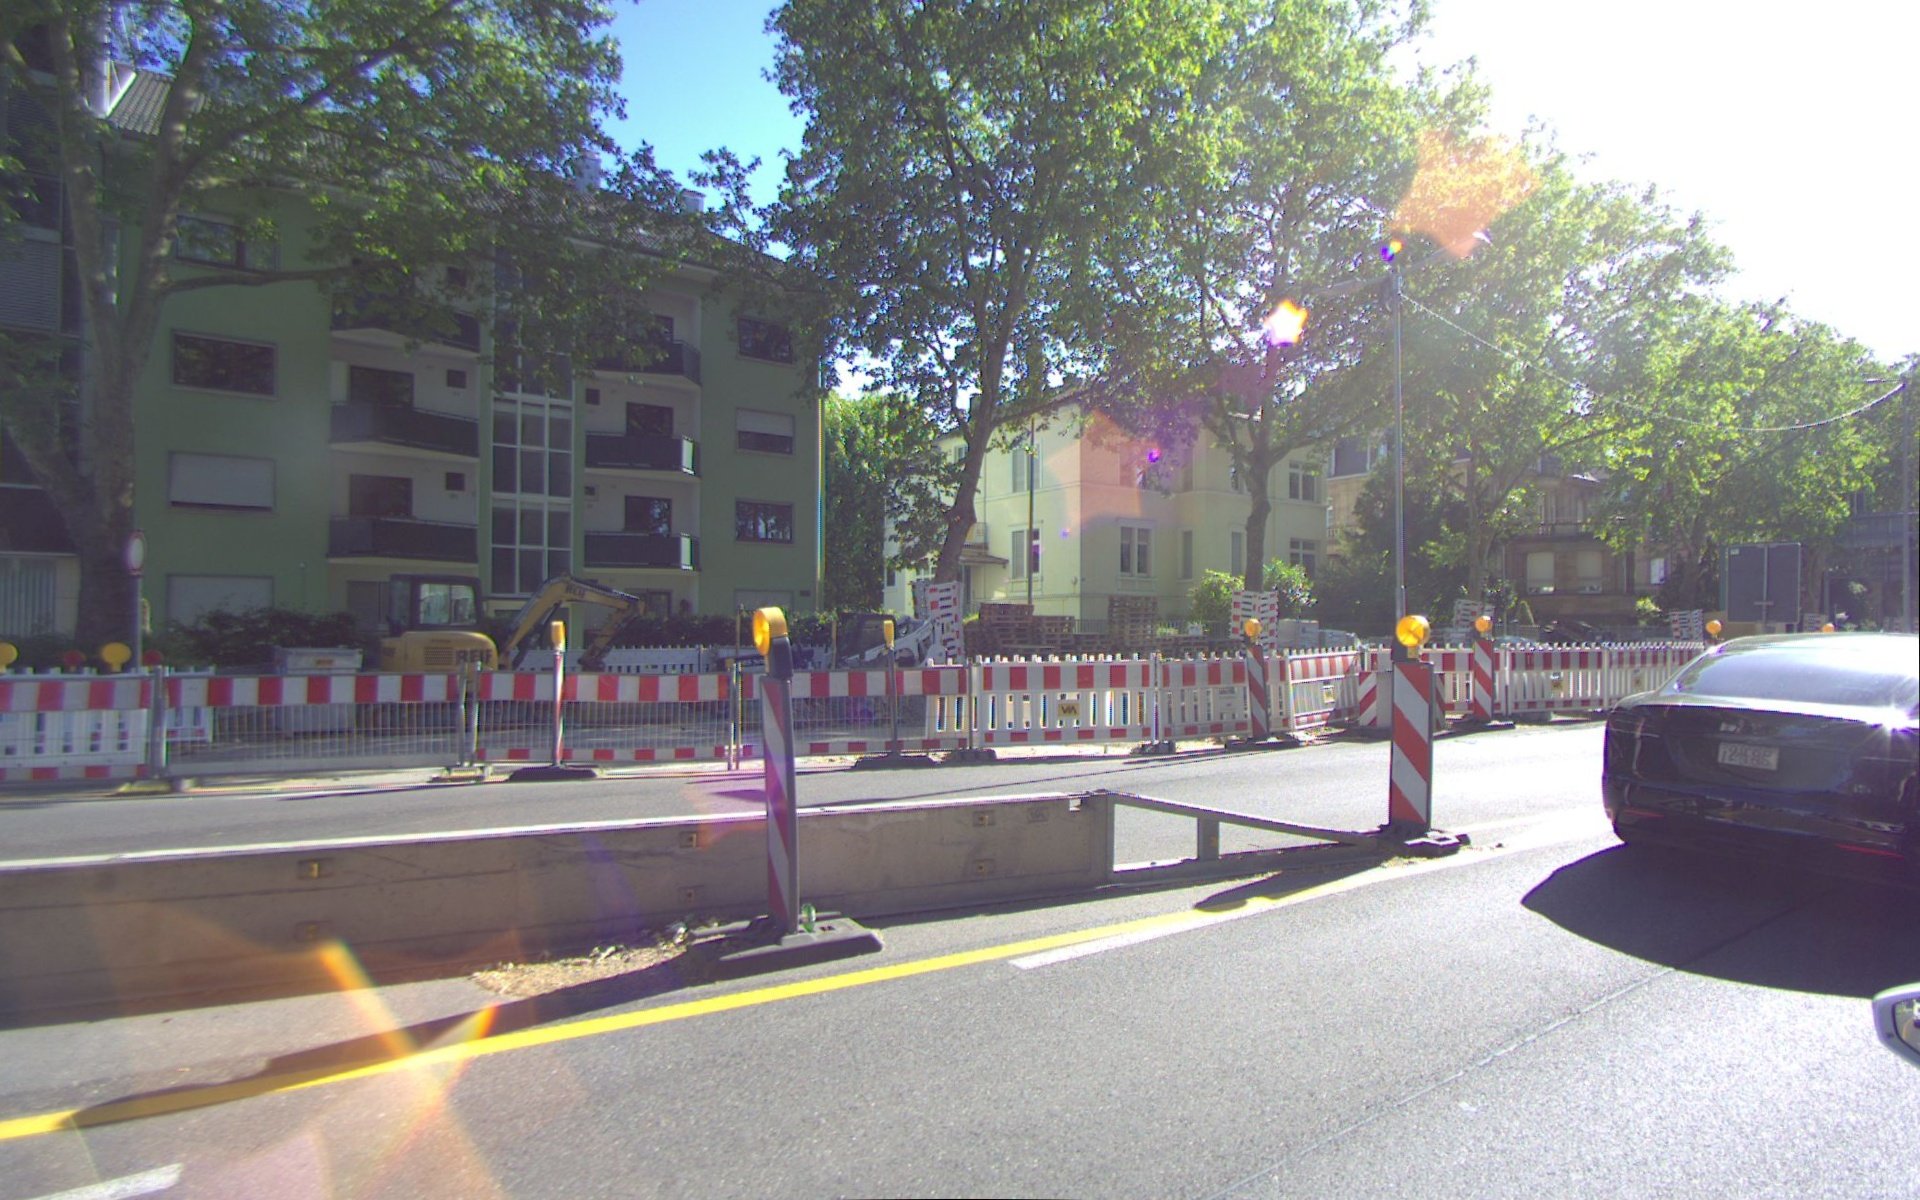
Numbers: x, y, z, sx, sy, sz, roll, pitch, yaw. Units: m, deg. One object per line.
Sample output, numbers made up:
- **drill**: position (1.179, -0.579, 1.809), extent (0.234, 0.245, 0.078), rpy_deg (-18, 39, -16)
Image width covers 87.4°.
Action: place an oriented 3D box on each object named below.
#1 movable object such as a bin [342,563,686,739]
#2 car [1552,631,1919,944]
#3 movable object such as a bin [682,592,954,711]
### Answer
- **movable object such as a bin**: position (-7.895, 0.856, 18.111), extent (5.307, 2.742, 2.130), rpy_deg (1, -1, -38)
- **car**: position (6.041, 0.942, 6.586), extent (4.576, 1.430, 1.914), rpy_deg (1, -1, -33)
- **movable object such as a bin**: position (-2.981, 1.084, 21.762), extent (5.538, 2.308, 1.982), rpy_deg (1, -3, -33)
